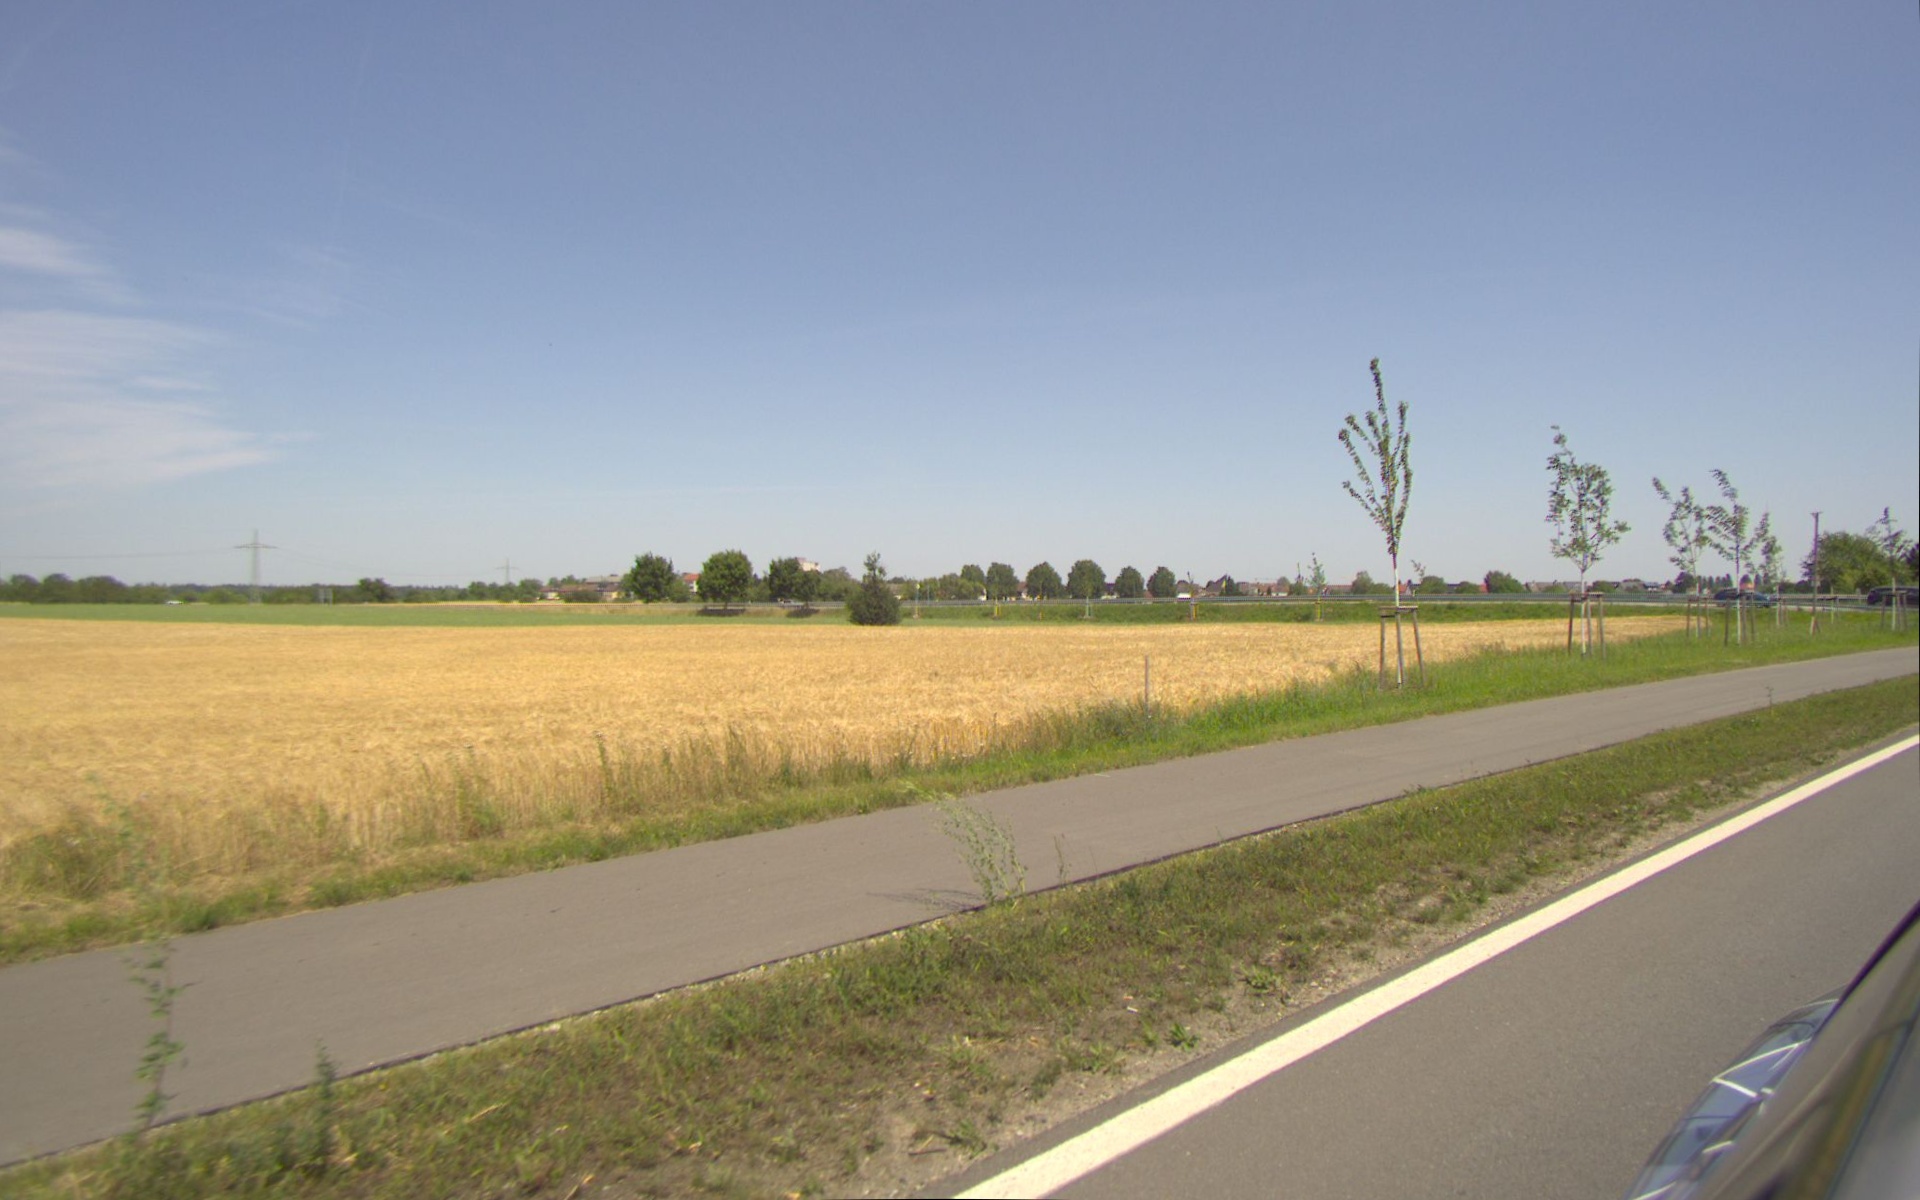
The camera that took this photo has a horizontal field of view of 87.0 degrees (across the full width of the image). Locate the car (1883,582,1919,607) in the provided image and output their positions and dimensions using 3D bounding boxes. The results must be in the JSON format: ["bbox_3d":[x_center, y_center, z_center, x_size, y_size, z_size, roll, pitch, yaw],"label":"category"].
[{"bbox_3d":[64.480,-0.356,67.101,1.777,1.661,4.534,-1,2,-27],"label":"car"}]

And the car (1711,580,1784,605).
[{"bbox_3d":[59.424,-0.586,76.404,1.882,1.831,3.924,-1,0,-29],"label":"car"}]
